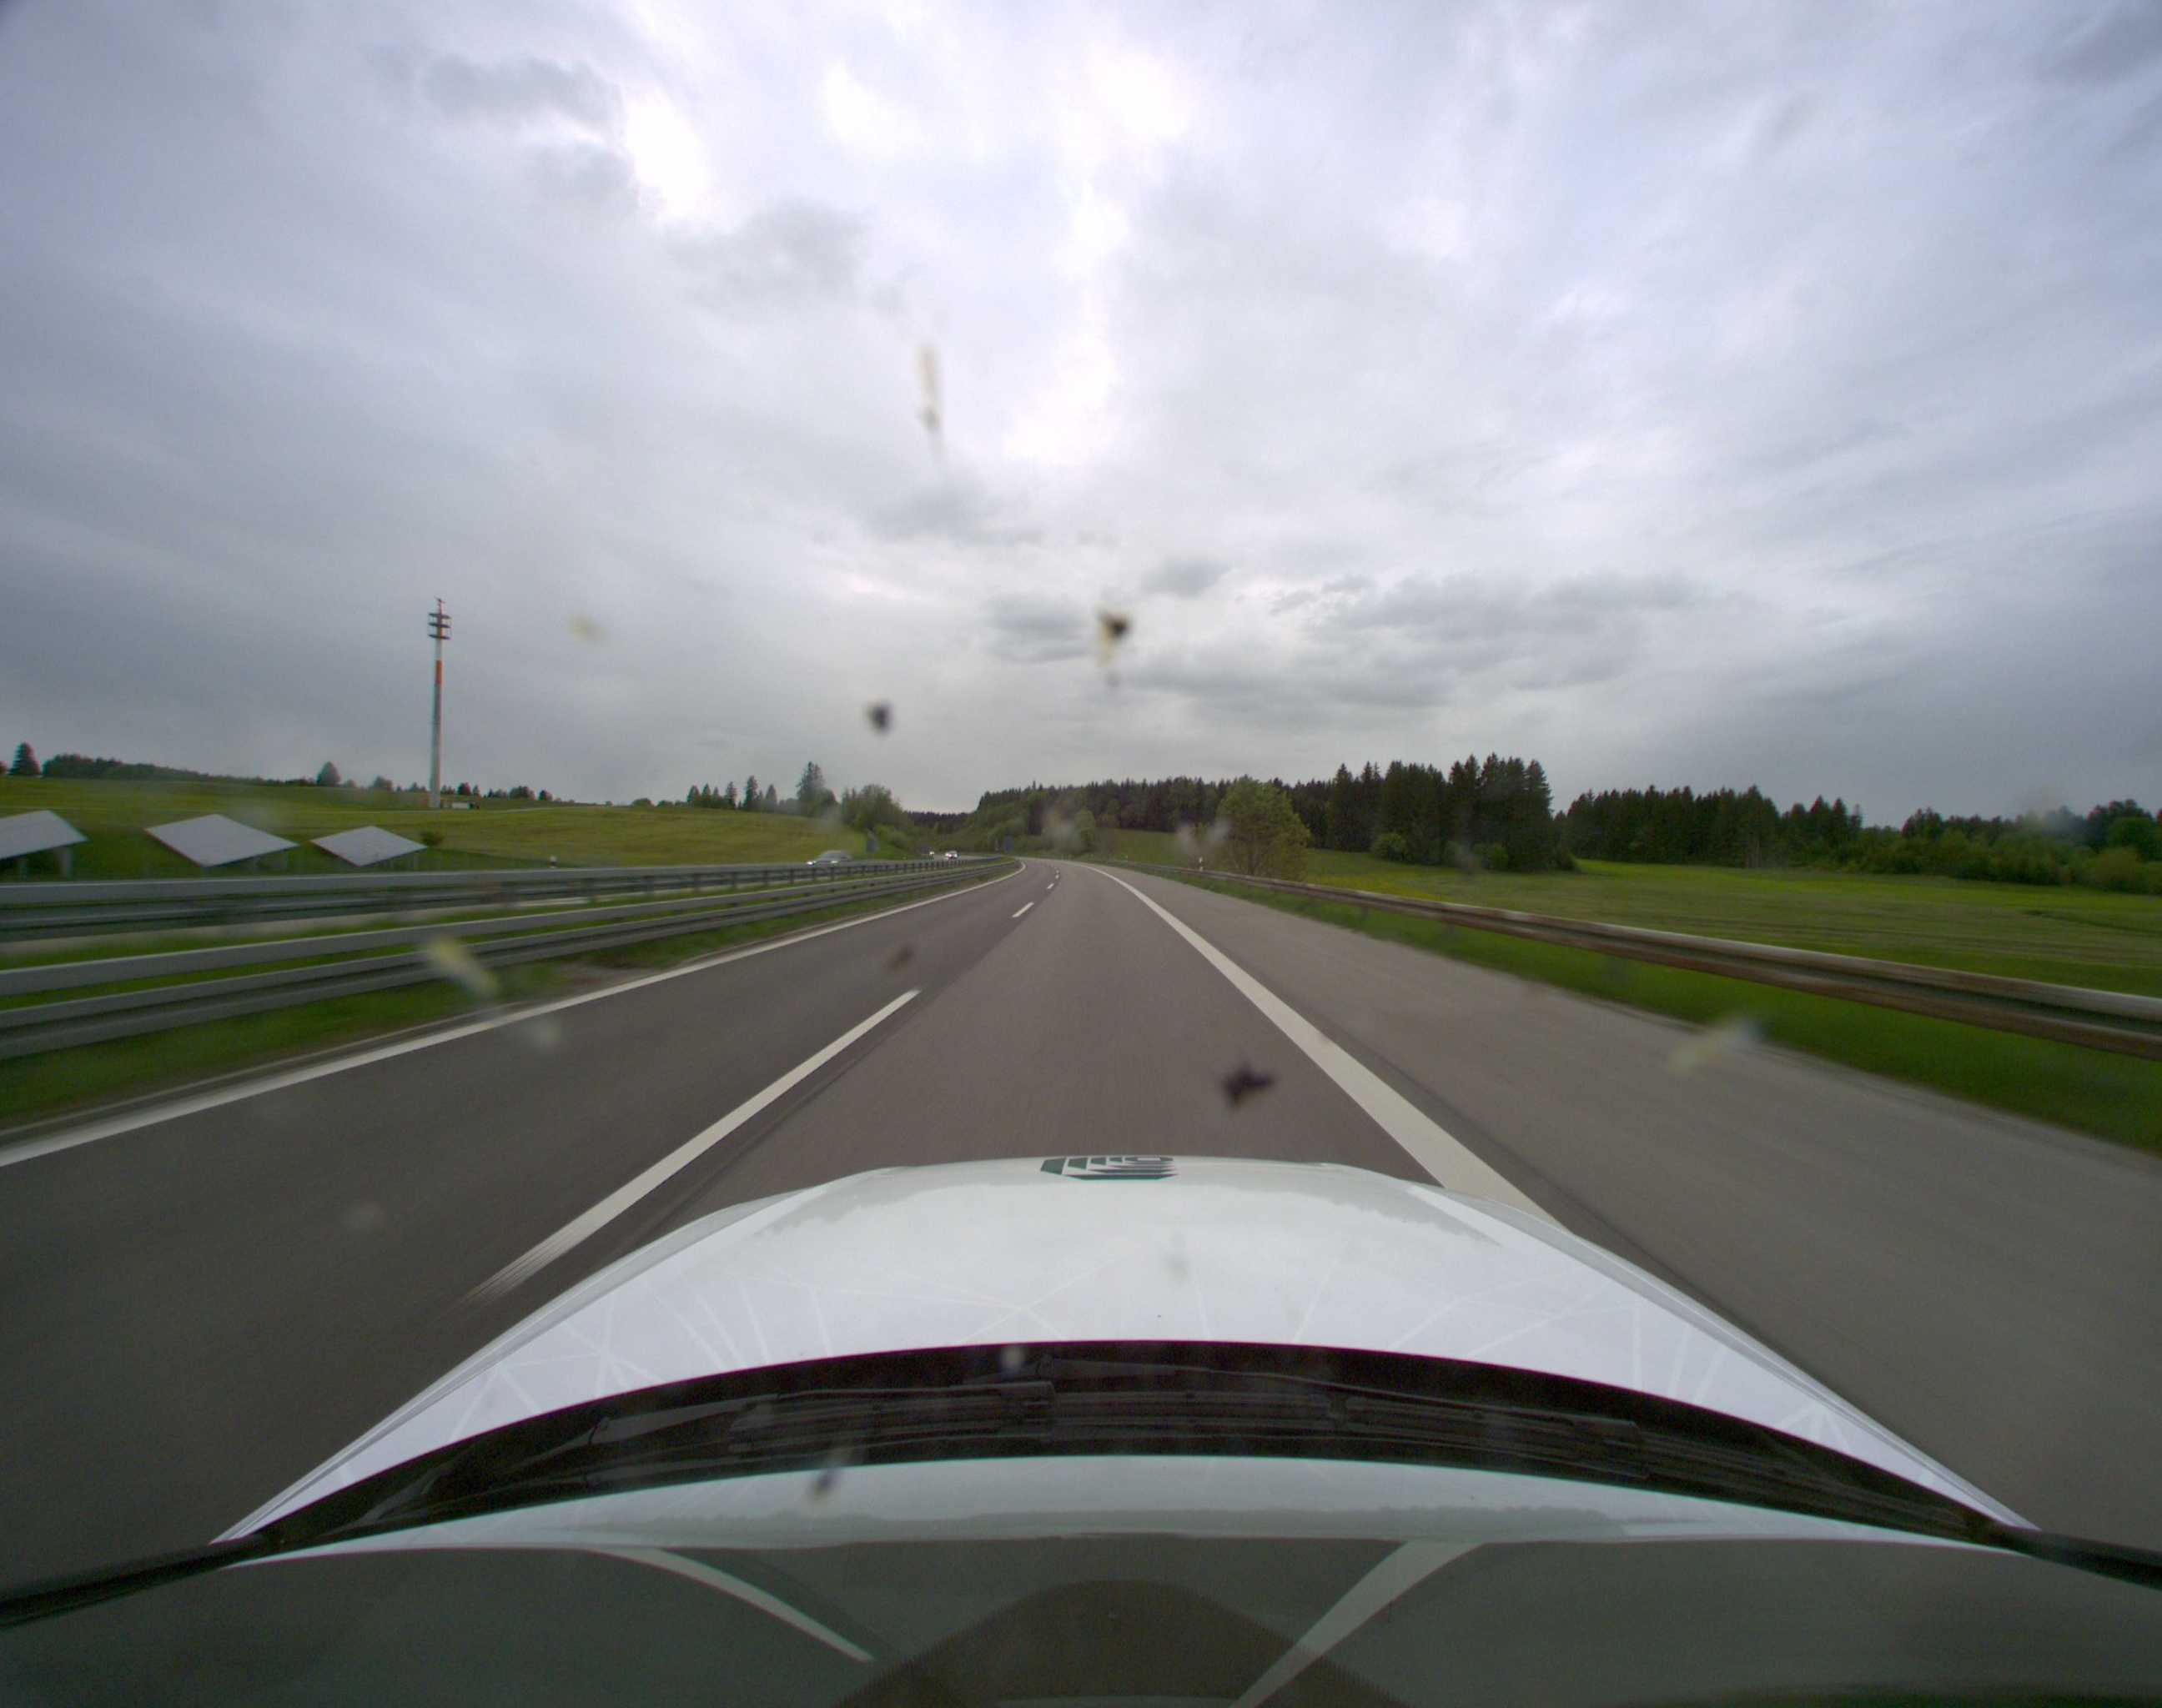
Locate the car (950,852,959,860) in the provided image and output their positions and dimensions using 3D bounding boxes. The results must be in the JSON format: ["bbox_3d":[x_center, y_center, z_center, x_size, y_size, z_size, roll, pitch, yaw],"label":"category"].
[{"bbox_3d":[-28.645,0.469,184.201,1.992,1.686,4.614,2,0,-8],"label":"car"}]

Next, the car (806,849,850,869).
[{"bbox_3d":[-20.360,0.396,65.717,1.988,1.440,4.997,2,0,-1],"label":"car"}]

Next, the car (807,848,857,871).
[{"bbox_3d":[-16.346,0.326,53.730,1.987,1.417,4.000,2,0,0],"label":"car"}]

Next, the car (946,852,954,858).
[{"bbox_3d":[-40.057,0.422,249.486,2.038,1.690,5.032,2,0,-14],"label":"car"}]
